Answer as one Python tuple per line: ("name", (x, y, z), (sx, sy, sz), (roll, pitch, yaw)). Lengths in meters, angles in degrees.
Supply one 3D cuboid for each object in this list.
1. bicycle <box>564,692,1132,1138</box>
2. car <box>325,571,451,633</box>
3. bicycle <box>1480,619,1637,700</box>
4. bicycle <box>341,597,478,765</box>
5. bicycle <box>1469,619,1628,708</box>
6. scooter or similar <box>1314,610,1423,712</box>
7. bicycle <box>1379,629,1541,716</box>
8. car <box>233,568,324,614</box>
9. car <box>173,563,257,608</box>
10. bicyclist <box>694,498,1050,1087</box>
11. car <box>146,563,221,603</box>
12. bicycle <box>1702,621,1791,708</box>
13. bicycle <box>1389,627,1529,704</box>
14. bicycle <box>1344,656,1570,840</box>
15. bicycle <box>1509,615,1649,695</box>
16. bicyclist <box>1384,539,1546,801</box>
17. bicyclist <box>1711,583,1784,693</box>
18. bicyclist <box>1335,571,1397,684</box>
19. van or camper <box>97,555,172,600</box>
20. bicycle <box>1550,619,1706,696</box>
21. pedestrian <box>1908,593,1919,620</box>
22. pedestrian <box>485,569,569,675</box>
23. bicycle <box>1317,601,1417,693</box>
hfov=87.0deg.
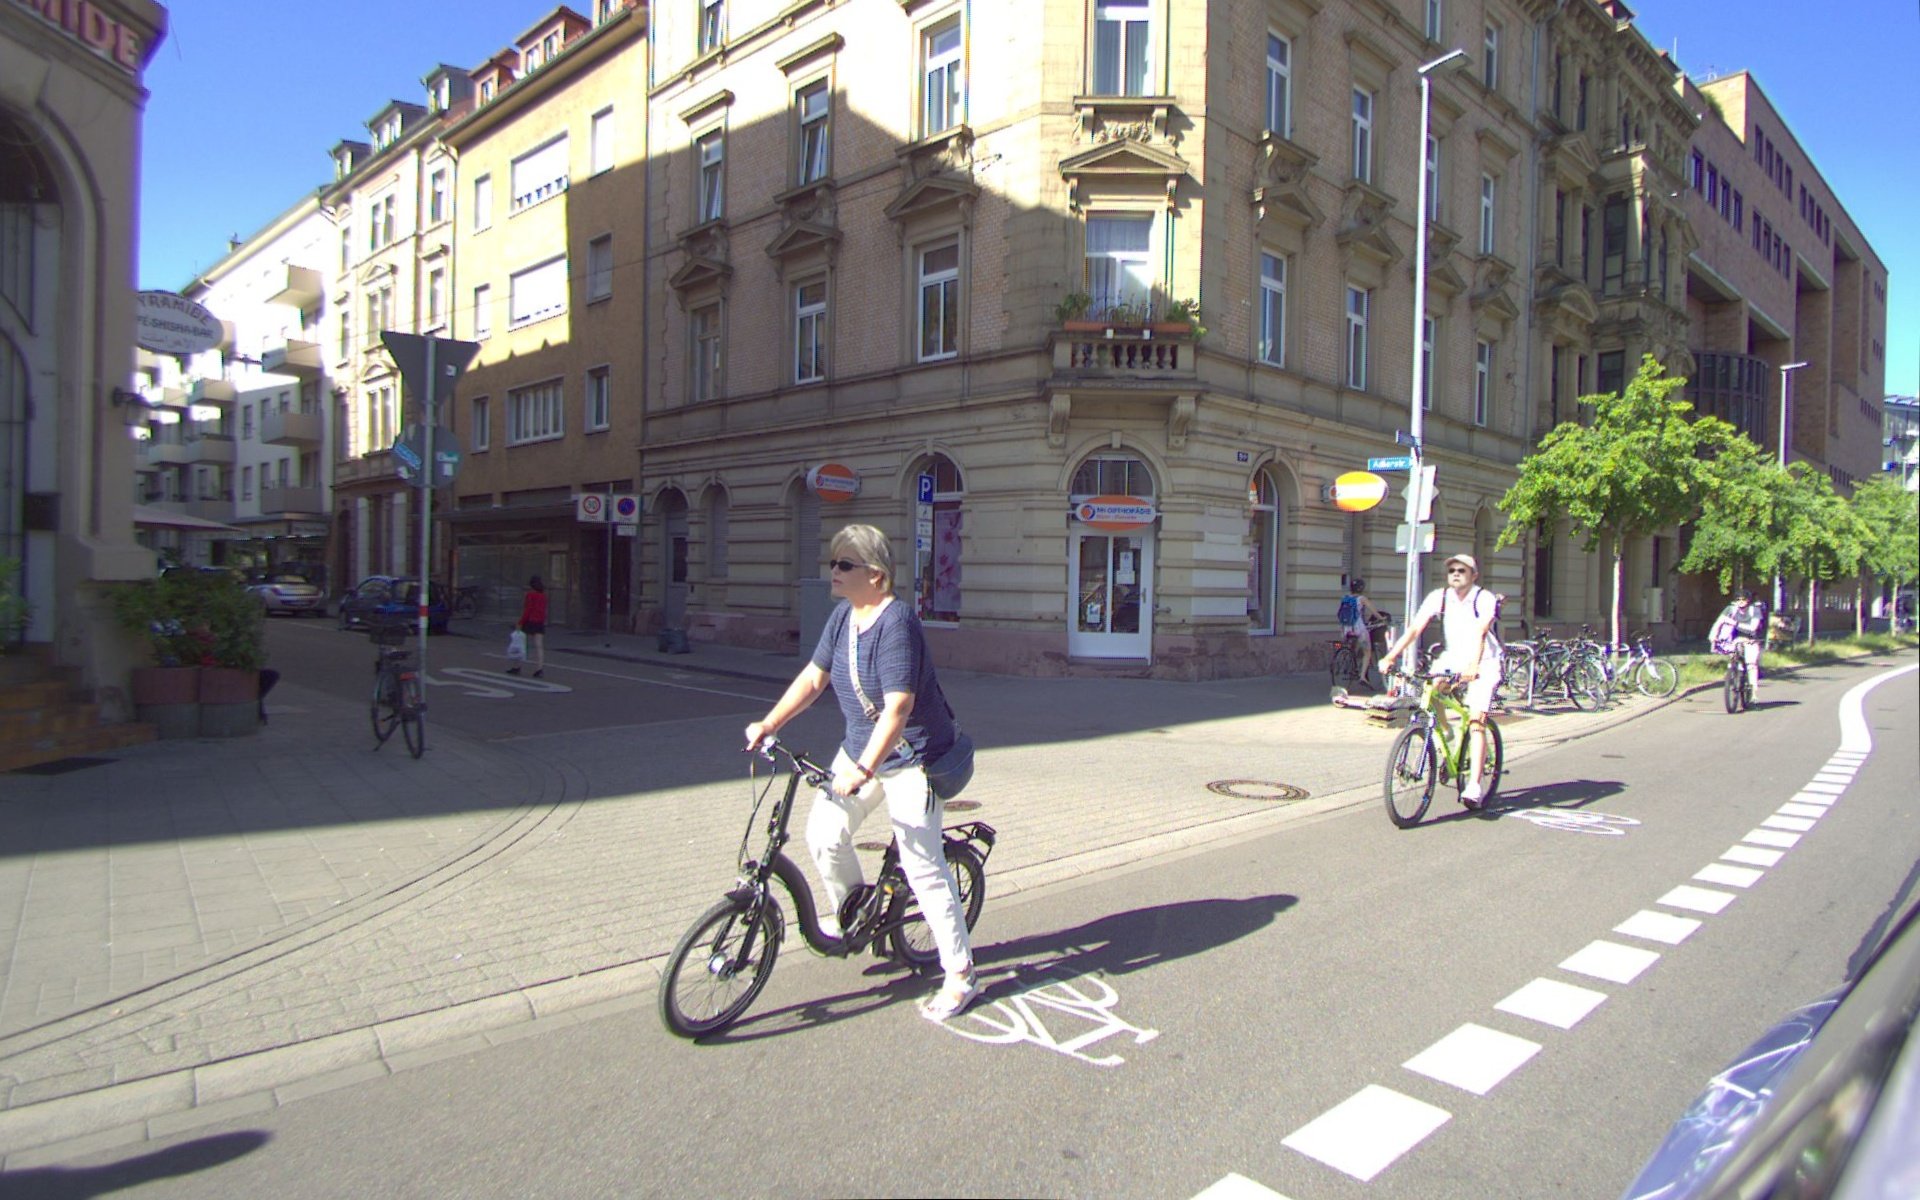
("bicycle", (-0.315, 0.928, 3.655), (1.918, 1.019, 0.829), (0, 0, -41))
("car", (-14.653, 0.015, 25.860), (3.686, 1.428, 1.594), (2, 1, 39))
("bicycle", (9.462, 0.898, 16.049), (1.013, 1.043, 1.901), (0, 4, -43))
("bicycle", (-4.965, 0.654, 9.042), (0.801, 1.247, 2.221), (4, -1, -34))
("bicycle", (8.571, 0.891, 14.803), (0.598, 1.061, 1.873), (0, 4, -45))
("scooter or similar", (5.252, 0.760, 13.053), (0.479, 1.213, 1.197), (1, 1, -45))
("bicycle", (6.693, 0.938, 13.654), (0.580, 0.922, 1.910), (0, 3, -32))
("car", (-21.115, -0.295, 31.325), (3.376, 1.338, 1.604), (1, 1, 42))
("car", (-26.245, -0.522, 35.623), (3.425, 1.424, 1.605), (3, 0, 41))
("bicyclist", (-0.317, 0.570, 3.654), (0.971, 1.749, 0.853), (1, -1, -41))
("car", (-30.003, -0.663, 39.066), (3.425, 1.424, 1.605), (3, 0, 41))
("bicycle", (12.048, 0.948, 15.482), (1.918, 1.209, 0.724), (0, -1, -41))
("bicycle", (6.997, 0.890, 14.258), (0.488, 0.937, 1.716), (0, 1, -40))
("bicycle", (3.496, 0.947, 7.040), (1.918, 1.019, 0.724), (0, 0, -41))
("bicycle", (10.277, 0.872, 16.829), (1.115, 1.074, 1.677), (0, 5, -42))
("bicyclist", (3.531, 0.449, 7.068), (0.960, 1.678, 0.699), (1, -1, -41))
("bicyclist", (12.057, 0.566, 15.495), (0.879, 1.625, 0.724), (1, -1, -41))
("bicyclist", (6.106, 0.389, 15.216), (0.781, 1.637, 0.578), (0, 1, -43))
("van or camper", (-37.851, -1.056, 46.355), (4.527, 1.867, 1.857), (3, 0, 41))
("bicycle", (11.515, 0.955, 17.499), (0.833, 1.054, 2.062), (0, 4, -41))
("pedestrian", (74.623, 0.513, 78.781), (0.747, 2.039, 0.884), (1, 1, -19))
("pedestrian", (-6.740, 0.323, 15.777), (0.824, 1.594, 0.901), (0, 0, 22))
("bicycle", (6.170, 0.670, 15.294), (2.062, 1.268, 0.578), (-1, 2, -43))
